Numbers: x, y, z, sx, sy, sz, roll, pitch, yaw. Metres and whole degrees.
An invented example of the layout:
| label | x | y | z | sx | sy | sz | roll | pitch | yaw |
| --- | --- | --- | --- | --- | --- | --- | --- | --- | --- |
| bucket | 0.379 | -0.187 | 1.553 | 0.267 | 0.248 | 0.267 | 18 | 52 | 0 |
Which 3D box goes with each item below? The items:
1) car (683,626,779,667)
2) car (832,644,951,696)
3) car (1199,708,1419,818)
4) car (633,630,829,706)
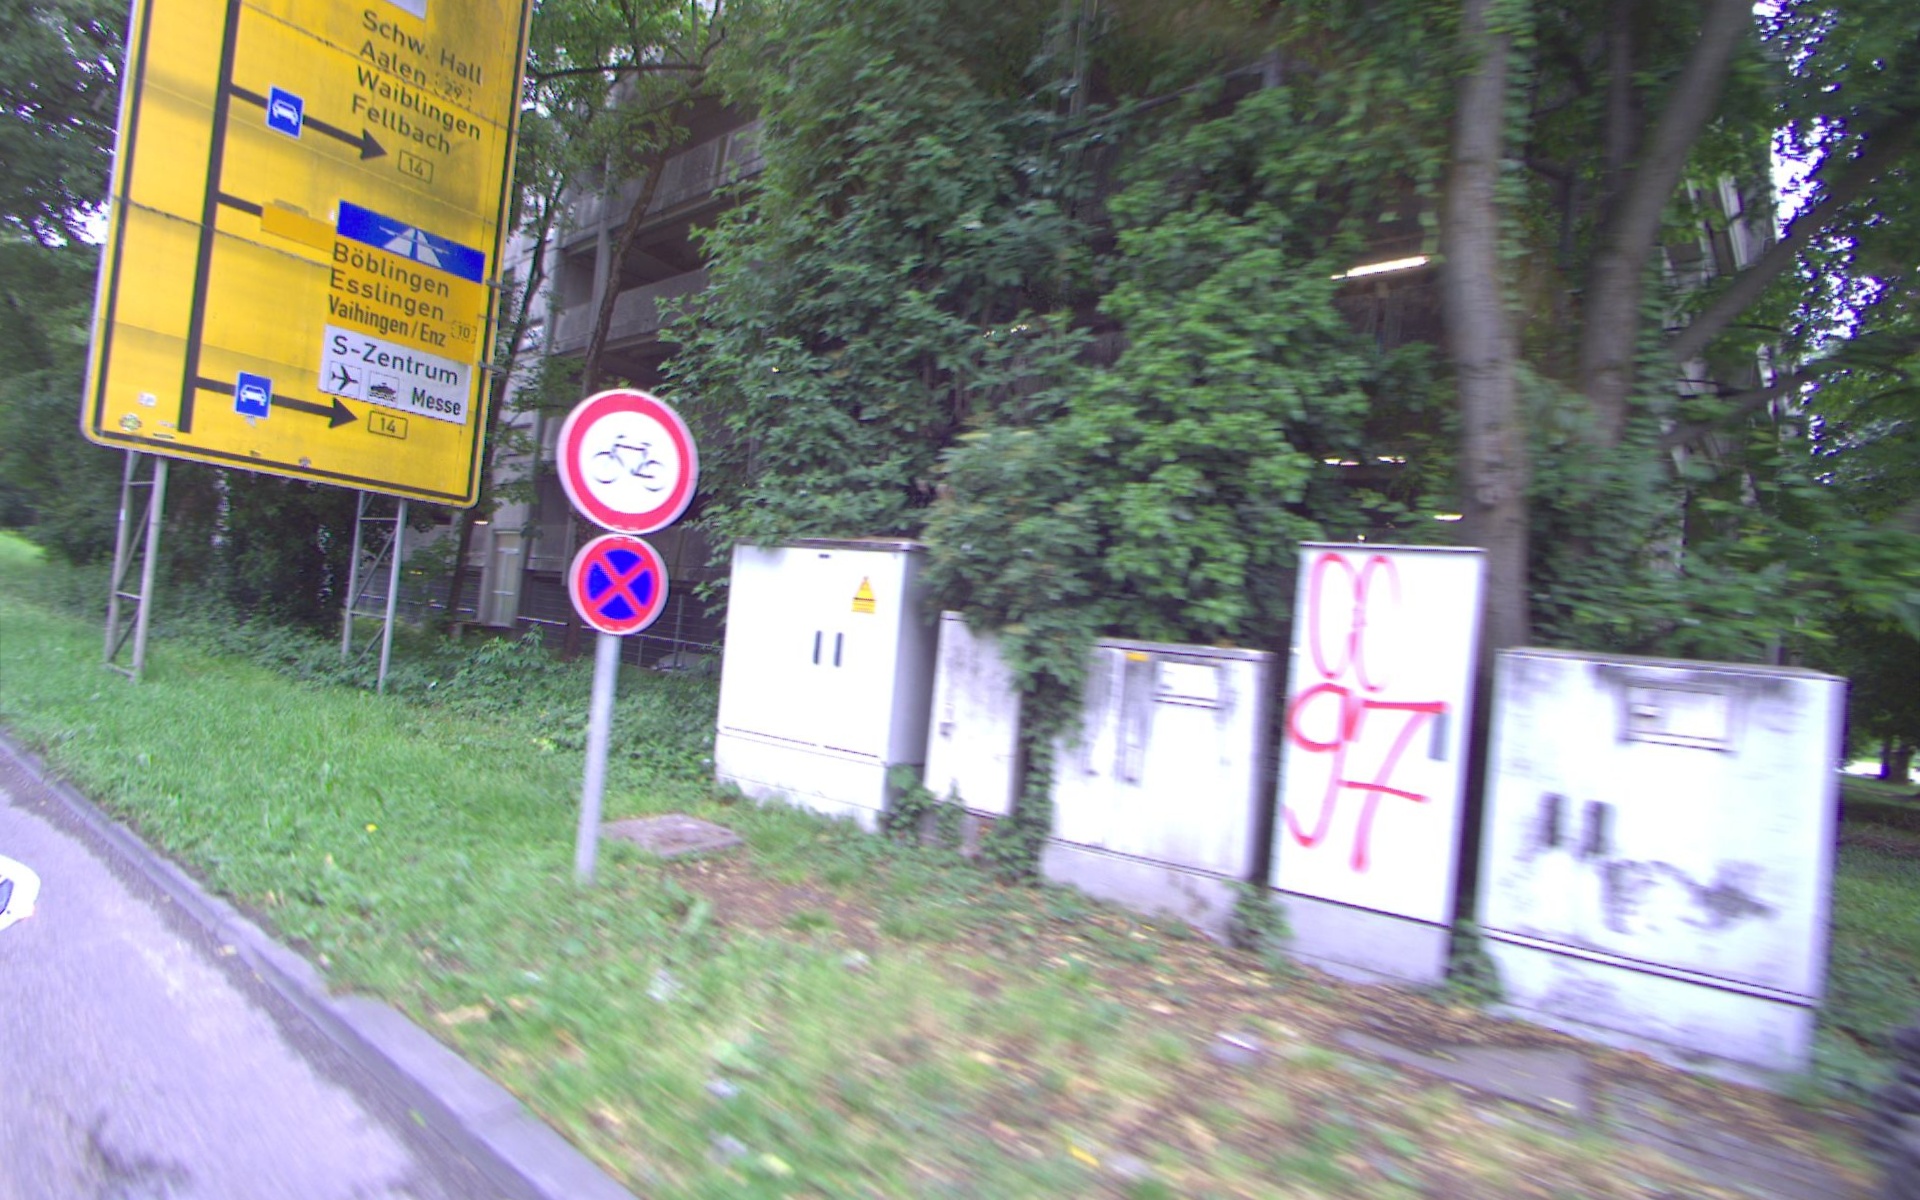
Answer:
| label | x | y | z | sx | sy | sz | roll | pitch | yaw |
| --- | --- | --- | --- | --- | --- | --- | --- | --- | --- |
| car | -9.650 | 1.992 | 42.591 | 1.650 | 1.366 | 3.659 | 5 | -2 | 40 |
| car | -2.387 | 2.509 | 35.710 | 1.800 | 1.432 | 4.057 | 6 | -2 | 40 |
| car | 5.119 | 2.325 | 14.517 | 1.601 | 1.175 | 3.624 | 5 | -3 | 43 |
| car | -5.493 | 1.703 | 24.608 | 1.688 | 1.472 | 4.437 | 3 | -4 | 41 |
